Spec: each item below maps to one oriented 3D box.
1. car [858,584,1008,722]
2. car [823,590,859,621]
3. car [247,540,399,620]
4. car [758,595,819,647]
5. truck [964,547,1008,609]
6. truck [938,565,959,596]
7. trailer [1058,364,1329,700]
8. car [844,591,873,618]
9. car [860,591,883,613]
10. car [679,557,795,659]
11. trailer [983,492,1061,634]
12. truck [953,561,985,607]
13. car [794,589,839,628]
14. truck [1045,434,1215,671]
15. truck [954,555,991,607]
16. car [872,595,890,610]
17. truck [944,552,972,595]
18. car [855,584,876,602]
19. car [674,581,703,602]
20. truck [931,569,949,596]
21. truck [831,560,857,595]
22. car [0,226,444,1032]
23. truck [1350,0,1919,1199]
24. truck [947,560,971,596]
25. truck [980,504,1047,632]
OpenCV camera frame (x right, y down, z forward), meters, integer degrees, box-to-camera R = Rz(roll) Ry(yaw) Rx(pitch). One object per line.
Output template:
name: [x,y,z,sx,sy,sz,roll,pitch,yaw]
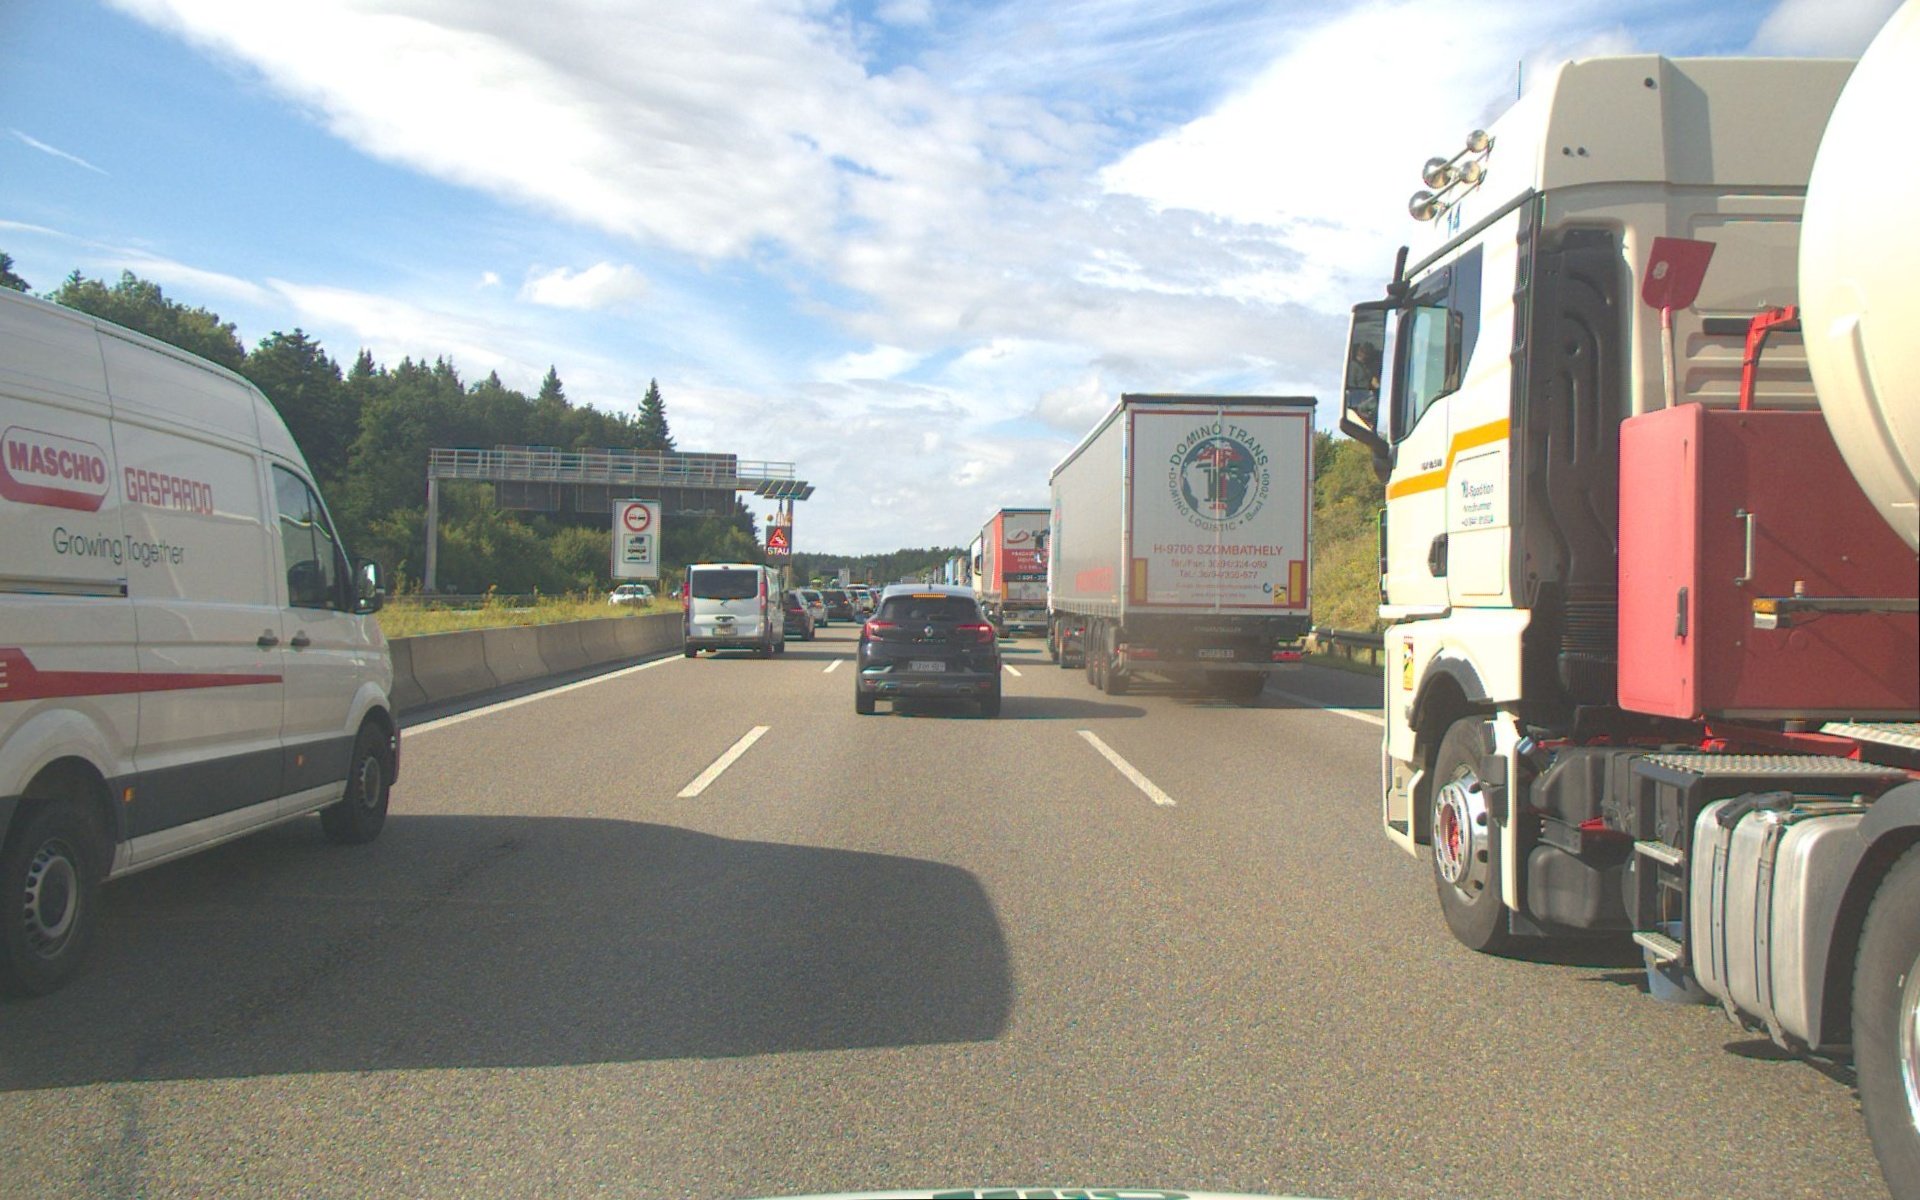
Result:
car: [-0.255,0.595,21.234,1.661,1.508,4.161,1,1,2]
car: [-5.509,0.244,76.716,1.406,1.333,3.532,4,0,-2]
car: [-20.113,-0.605,52.649,2.269,2.231,6.860,4,0,-2]
car: [-5.053,0.586,48.963,1.470,1.420,3.475,3,0,-1]
truck: [1.308,-1.087,84.775,1.953,2.982,4.980,4,0,-1]
truck: [-1.243,-2.030,174.075,1.953,3.105,4.980,4,0,-1]
trailer: [3.340,-0.875,26.860,2.745,4.318,11.055,0,0,-1]
car: [-5.567,0.251,91.287,1.406,1.333,3.532,4,0,-2]
car: [-5.677,0.133,106.063,1.333,1.323,3.084,4,0,-2]
car: [-4.913,0.173,37.131,1.894,2.013,5.097,4,0,-1]
trailer: [1.952,-1.132,54.826,2.106,4.333,8.438,1,0,-1]
truck: [0.598,-1.112,114.964,1.953,2.982,4.980,4,0,-1]
car: [-5.681,0.319,65.906,1.470,1.420,3.475,4,0,-1]
truck: [3.282,-0.873,33.462,2.729,4.321,6.459,0,0,0]
truck: [0.742,-1.113,101.129,1.953,2.982,4.980,4,0,-1]
car: [-6.470,0.222,135.535,1.333,1.179,3.084,1,0,-2]
truck: [-0.195,-1.994,127.627,1.953,3.105,4.980,4,0,-1]
car: [-6.545,-0.479,114.918,1.333,1.260,3.084,1,0,-2]
car: [-23.644,-0.724,144.100,1.850,1.713,3.999,4,0,-1]
truck: [-2.438,-2.092,199.553,1.953,3.105,4.980,4,0,-1]
truck: [-12.835,-2.502,183.683,2.297,3.656,6.304,4,0,-1]
car: [-4.220,0.082,7.598,1.975,2.644,6.179,0,0,-2]
truck: [3.397,-0.385,5.456,2.482,3.646,6.727,1,0,-1]
truck: [-0.081,-1.969,150.166,1.953,3.105,4.980,4,0,-1]
truck: [1.880,-1.106,60.076,2.090,4.356,6.337,1,0,-1]
